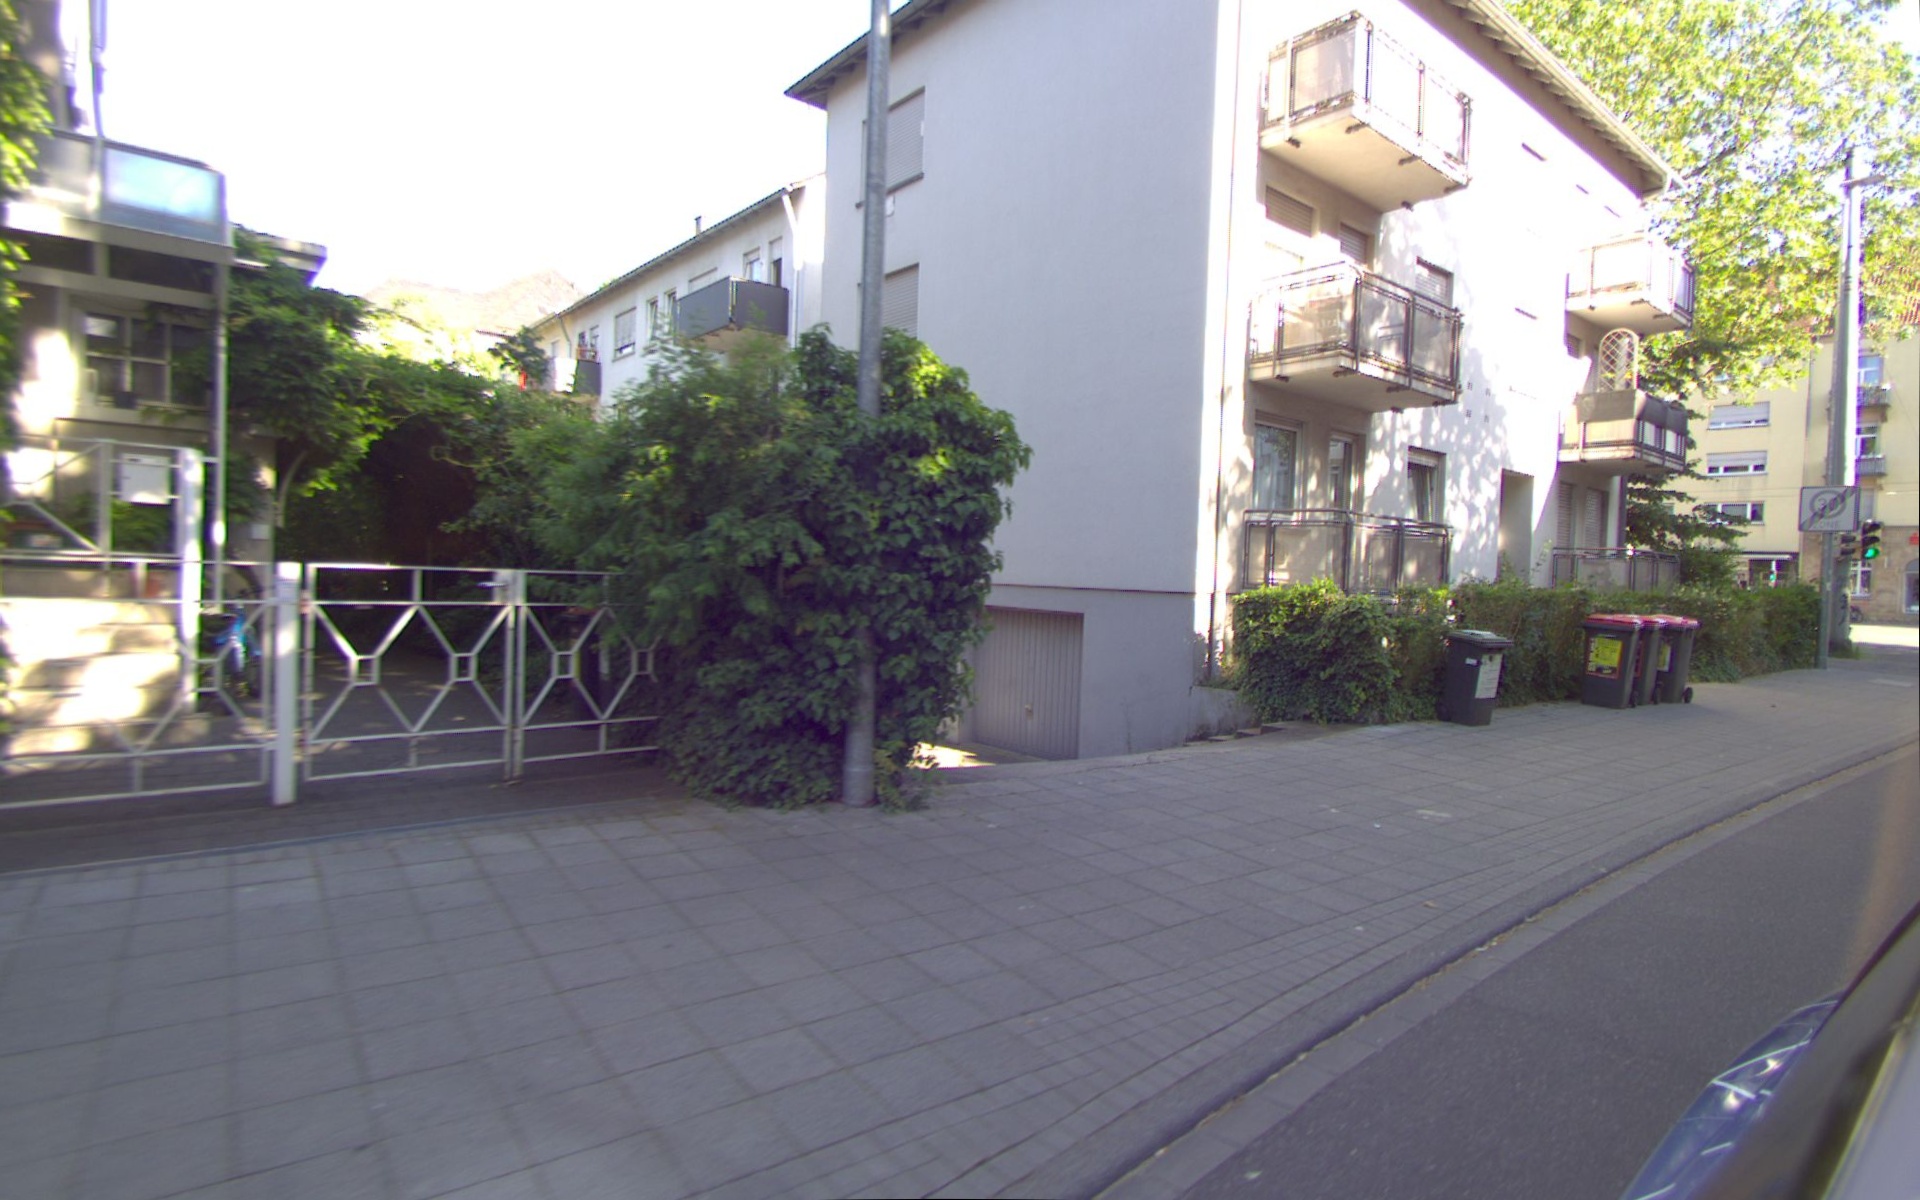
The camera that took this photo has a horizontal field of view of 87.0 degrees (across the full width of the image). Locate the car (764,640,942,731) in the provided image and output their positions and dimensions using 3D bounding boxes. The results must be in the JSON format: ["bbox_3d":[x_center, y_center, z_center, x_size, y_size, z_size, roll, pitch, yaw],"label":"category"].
[{"bbox_3d":[-1.656,1.325,15.903,2.688,1.316,0.657,1,-1,4],"label":"car"}]

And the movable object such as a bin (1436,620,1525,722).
[{"bbox_3d":[5.190,0.695,10.097,0.562,0.926,0.505,1,5,-35],"label":"movable object such as a bin"}]

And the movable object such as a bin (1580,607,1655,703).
[{"bbox_3d":[7.748,0.632,11.927,0.607,1.056,0.485,0,6,-39],"label":"movable object such as a bin"}]

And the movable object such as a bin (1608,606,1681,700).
[{"bbox_3d":[8.340,0.625,12.333,0.645,1.056,0.485,0,6,-39],"label":"movable object such as a bin"}]

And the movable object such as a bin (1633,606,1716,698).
[{"bbox_3d":[9.025,0.637,12.790,0.694,1.056,0.599,0,6,-39],"label":"movable object such as a bin"}]

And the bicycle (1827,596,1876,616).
[{"bbox_3d":[49.311,0.335,55.984,0.507,0.987,1.952,-2,4,-38],"label":"bicycle"}]

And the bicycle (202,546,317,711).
[{"bbox_3d":[-5.744,0.167,8.289,0.661,1.170,2.118,2,2,-36],"label":"bicycle"}]
